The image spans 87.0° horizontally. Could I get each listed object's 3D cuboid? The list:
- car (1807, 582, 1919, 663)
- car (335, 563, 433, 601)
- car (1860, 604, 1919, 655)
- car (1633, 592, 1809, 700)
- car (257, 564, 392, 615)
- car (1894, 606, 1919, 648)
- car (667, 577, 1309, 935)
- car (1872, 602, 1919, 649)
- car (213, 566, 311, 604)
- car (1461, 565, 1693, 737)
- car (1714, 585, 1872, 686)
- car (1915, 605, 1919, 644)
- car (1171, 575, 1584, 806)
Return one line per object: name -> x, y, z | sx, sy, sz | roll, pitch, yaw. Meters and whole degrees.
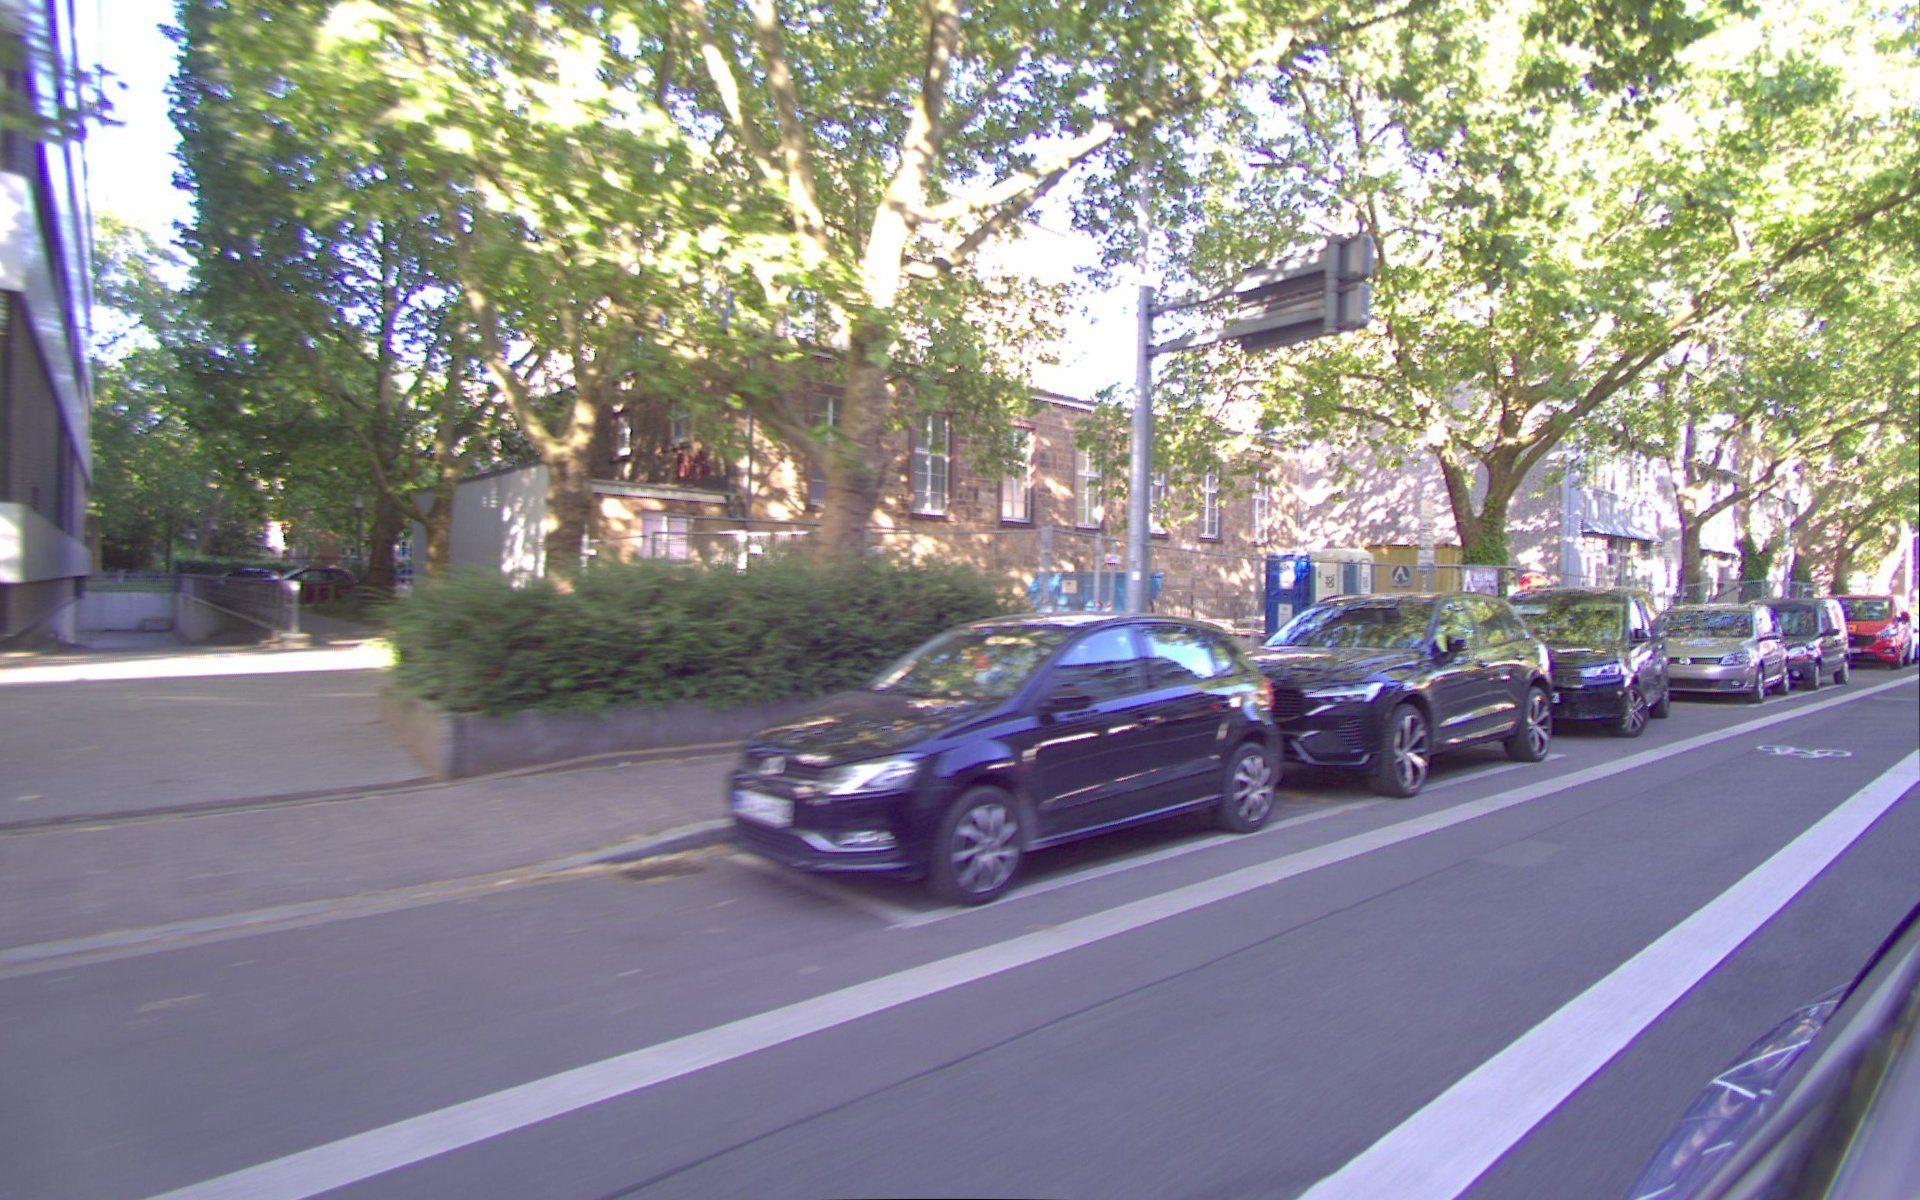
car -> 25.089, 0.590, 27.852 | 5.083, 2.019, 2.080 | 0, -1, -43
car -> -28.137, -0.853, 49.472 | 3.883, 1.742, 1.823 | 0, 0, -41
car -> 29.185, 0.889, 31.156 | 3.691, 1.504, 1.641 | 1, -1, -39
car -> 13.264, 0.724, 17.549 | 4.256, 1.648, 1.694 | 0, -1, -43
car -> -22.856, -0.355, 36.462 | 3.883, 1.742, 1.823 | 0, 0, -41
car -> 35.424, 0.970, 36.928 | 3.432, 1.494, 1.616 | 1, -2, -41
car -> 0.398, 0.682, 6.299 | 3.952, 1.523, 1.694 | 0, -1, -43
car -> 32.098, 0.843, 33.986 | 3.863, 1.530, 1.856 | 1, -2, -43
car -> -34.976, -0.743, 50.734 | 3.883, 1.823, 1.823 | 0, 0, -41
car -> 8.310, 0.578, 13.406 | 1.823, 1.865, 4.826 | -1, -1, 41
car -> 16.905, 0.671, 20.479 | 4.056, 1.836, 1.696 | 0, -1, -39
car -> 39.835, 0.983, 40.569 | 4.519, 1.542, 1.858 | 1, -1, -41
car -> 4.060, 0.667, 9.421 | 4.541, 1.648, 1.778 | 0, -1, -42
